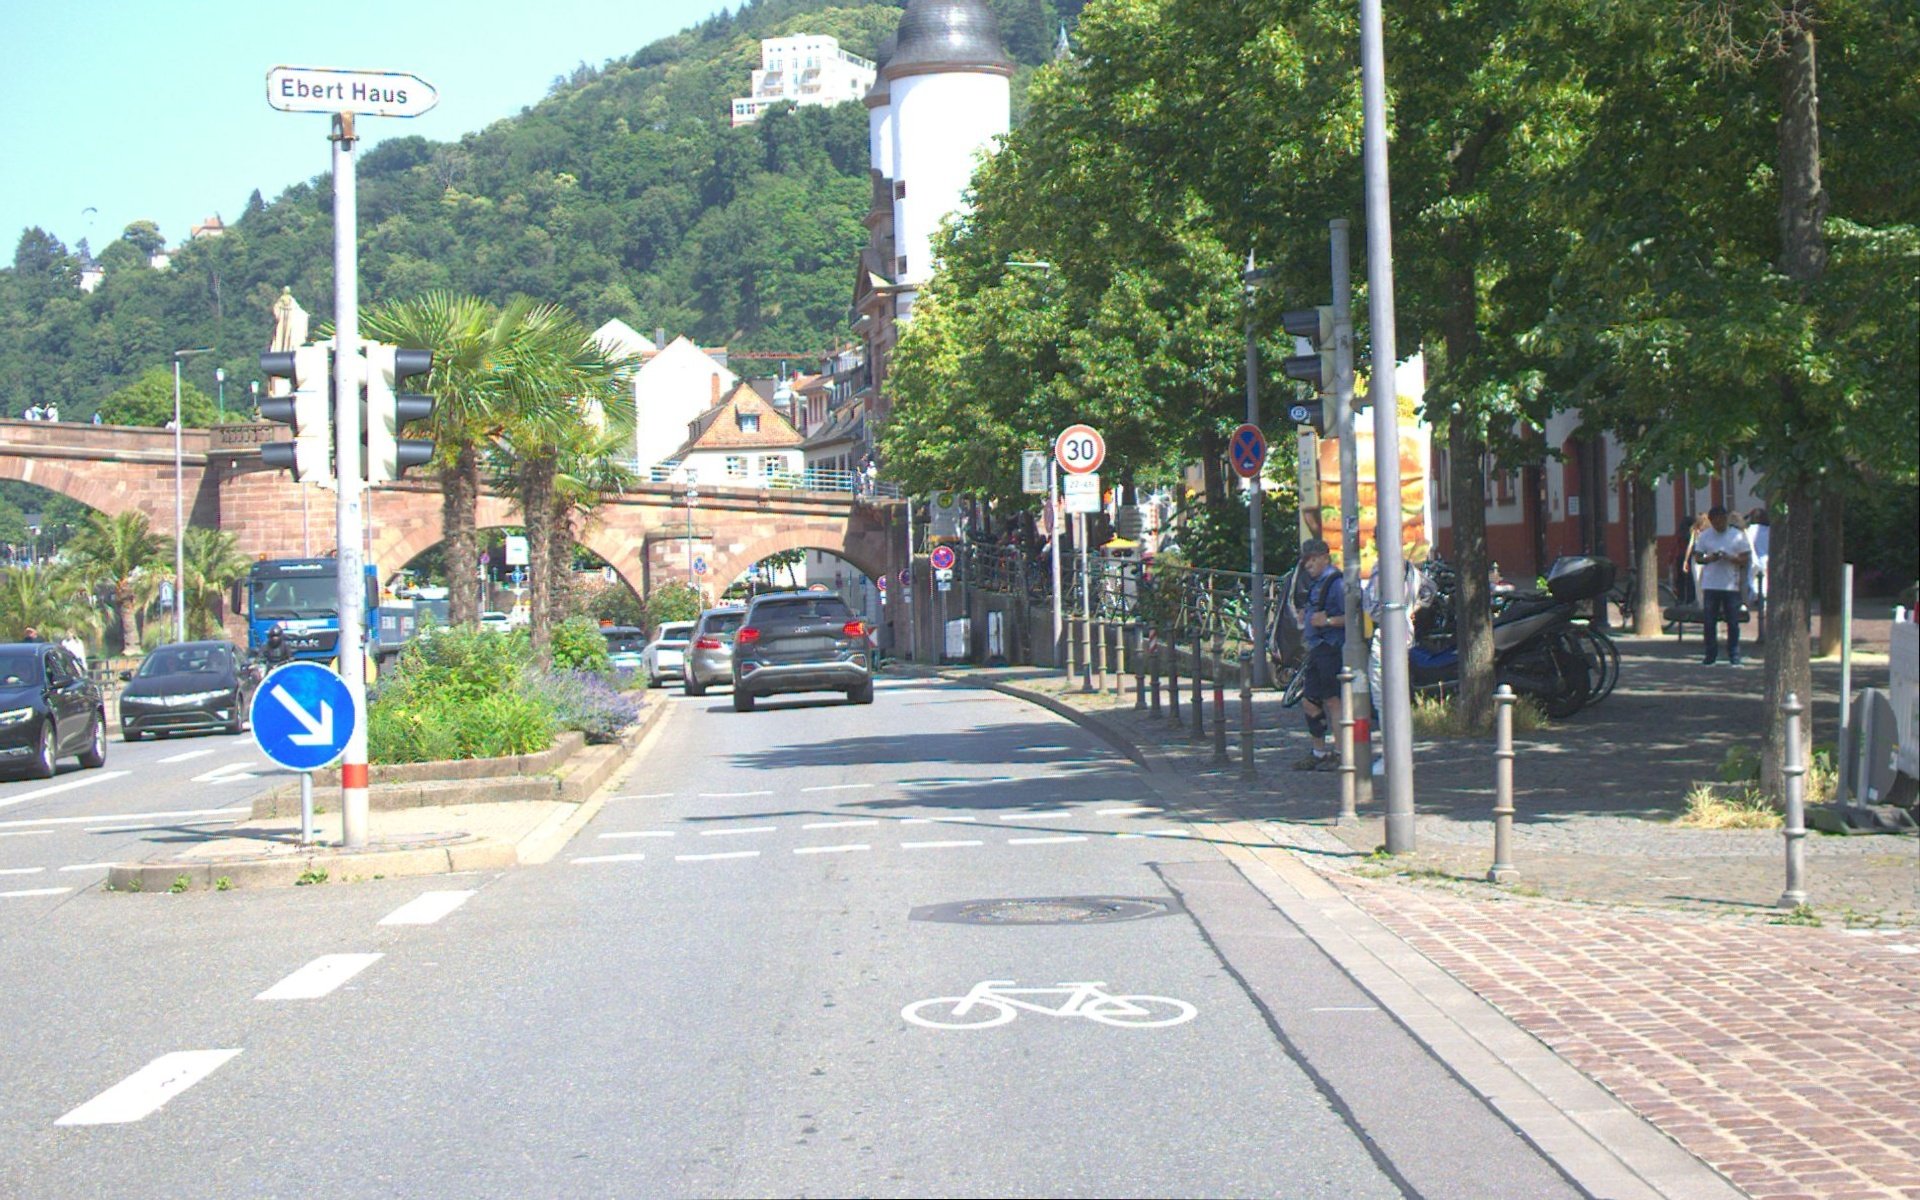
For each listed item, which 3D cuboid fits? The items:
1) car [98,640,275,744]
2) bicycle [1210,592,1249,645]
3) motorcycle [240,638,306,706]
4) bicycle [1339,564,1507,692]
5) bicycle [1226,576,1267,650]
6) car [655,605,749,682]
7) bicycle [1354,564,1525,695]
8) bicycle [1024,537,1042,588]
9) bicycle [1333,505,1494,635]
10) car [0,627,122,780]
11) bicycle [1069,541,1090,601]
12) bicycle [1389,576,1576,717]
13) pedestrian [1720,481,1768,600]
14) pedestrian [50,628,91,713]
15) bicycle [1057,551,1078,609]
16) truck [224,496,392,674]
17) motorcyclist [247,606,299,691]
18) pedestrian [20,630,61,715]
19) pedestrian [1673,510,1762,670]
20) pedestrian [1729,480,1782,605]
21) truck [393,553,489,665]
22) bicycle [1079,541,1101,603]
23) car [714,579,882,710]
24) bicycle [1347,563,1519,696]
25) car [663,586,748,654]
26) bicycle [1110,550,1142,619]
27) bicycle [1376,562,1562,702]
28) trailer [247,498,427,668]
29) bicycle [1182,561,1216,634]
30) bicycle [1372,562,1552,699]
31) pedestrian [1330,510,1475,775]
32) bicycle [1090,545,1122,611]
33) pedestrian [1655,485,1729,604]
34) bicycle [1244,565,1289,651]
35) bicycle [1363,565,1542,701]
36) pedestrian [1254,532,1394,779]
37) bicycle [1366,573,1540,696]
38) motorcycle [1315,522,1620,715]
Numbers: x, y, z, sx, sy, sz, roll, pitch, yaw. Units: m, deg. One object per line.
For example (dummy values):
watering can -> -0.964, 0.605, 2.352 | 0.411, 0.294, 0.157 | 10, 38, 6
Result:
car -> -11.818, 1.383, 52.746 | 1.952, 1.408, 4.219 | -4, -1, -4
bicycle -> 3.486, 0.230, 44.583 | 0.250, 0.661, 1.469 | -2, 0, -5
motorcycle -> -12.271, 1.274, 61.449 | 0.757, 1.128, 2.456 | -2, 1, -3
bicycle -> 4.297, 0.257, 31.911 | 1.483, 1.116, 0.251 | -3, 0, -8
bicycle -> 3.581, 0.152, 43.031 | 0.250, 0.901, 1.489 | -2, 0, -5
car -> -5.823, 0.964, 77.934 | 1.993, 1.548, 4.833 | -2, 1, -3
bicycle -> 4.379, 0.265, 31.399 | 1.483, 1.116, 0.251 | -3, 0, -8
bicycle -> 1.568, -0.797, 73.795 | 0.356, 1.092, 1.488 | 0, 0, 2
bicycle -> 5.376, -0.357, 40.760 | 1.829, 1.478, 0.286 | -2, 0, -5
car -> -10.565, 1.127, 37.570 | 1.818, 1.451, 4.929 | -4, 1, -4
bicycle -> 2.189, -0.533, 63.101 | 0.250, 1.092, 1.489 | 0, 0, -4
bicycle -> 4.423, 0.388, 29.126 | 1.483, 1.116, 0.294 | -3, 0, -5
pedestrian -> 13.371, -1.012, 58.639 | 0.585, 2.007, 0.596 | -3, 0, -4
pedestrian -> -19.002, 1.493, 73.423 | 0.761, 1.774, 0.696 | -1, 1, -11
bicycle -> 2.041, -0.373, 65.187 | 0.250, 1.092, 1.489 | 0, 0, -4
truck -> -13.066, -0.316, 69.220 | 2.657, 3.392, 4.450 | -2, 1, -3
motorcyclist -> -12.269, 0.857, 61.414 | 0.735, 1.465, 1.011 | -2, 1, -3
pedestrian -> -19.612, 1.545, 73.314 | 0.761, 1.774, 0.696 | -1, 1, -11
pedestrian -> 7.985, -0.110, 36.258 | 0.707, 1.647, 0.707 | -2, 1, -3
pedestrian -> 13.023, -0.940, 56.278 | 0.634, 2.007, 0.644 | -2, 1, -3
truck -> -16.336, 0.258, 108.505 | 2.657, 3.392, 5.136 | -2, 1, -6
bicycle -> 2.309, -0.502, 61.177 | 0.250, 1.092, 1.489 | 0, 0, -4
car -> -2.213, 0.544, 45.699 | 1.926, 1.548, 4.833 | -1, 1, -6
bicycle -> 4.283, 0.263, 31.123 | 1.483, 1.116, 0.251 | -3, 0, -8
car -> -6.383, 0.473, 86.529 | 1.993, 1.548, 4.832 | -2, 1, -3
bicycle -> 2.664, -0.257, 55.212 | 0.345, 1.092, 1.489 | 0, 0, -4
bicycle -> 4.365, 0.268, 29.505 | 1.483, 1.116, 0.378 | -3, 0, -8
trailer -> -13.352, -0.390, 74.310 | 2.657, 3.392, 8.827 | -2, 1, -3
bicycle -> 3.309, -0.035, 47.622 | 0.250, 0.997, 1.489 | 0, 0, -5
bicycle -> 4.379, 0.265, 30.004 | 1.483, 1.116, 0.294 | -3, 0, -8
pedestrian -> 3.048, 0.282, 23.746 | 0.693, 1.765, 0.764 | -3, 1, -11
bicycle -> 2.489, -0.374, 58.778 | 0.275, 1.092, 1.489 | -6, 1, -4
pedestrian -> 11.940, -0.902, 56.067 | 0.968, 1.908, 0.747 | -2, 0, -2
bicycle -> 3.691, 0.088, 41.445 | 0.250, 1.007, 1.489 | -2, 0, -5
bicycle -> 4.339, 0.289, 30.300 | 1.483, 1.116, 0.294 | -3, 0, -8
pedestrian -> 2.561, 0.381, 24.236 | 0.693, 1.671, 0.764 | -3, 1, -11
bicycle -> 4.428, 0.308, 30.890 | 1.483, 1.028, 0.294 | -3, 0, -8
motorcycle -> 4.079, 0.160, 27.760 | 2.296, 1.460, 0.763 | -3, 0, 38
